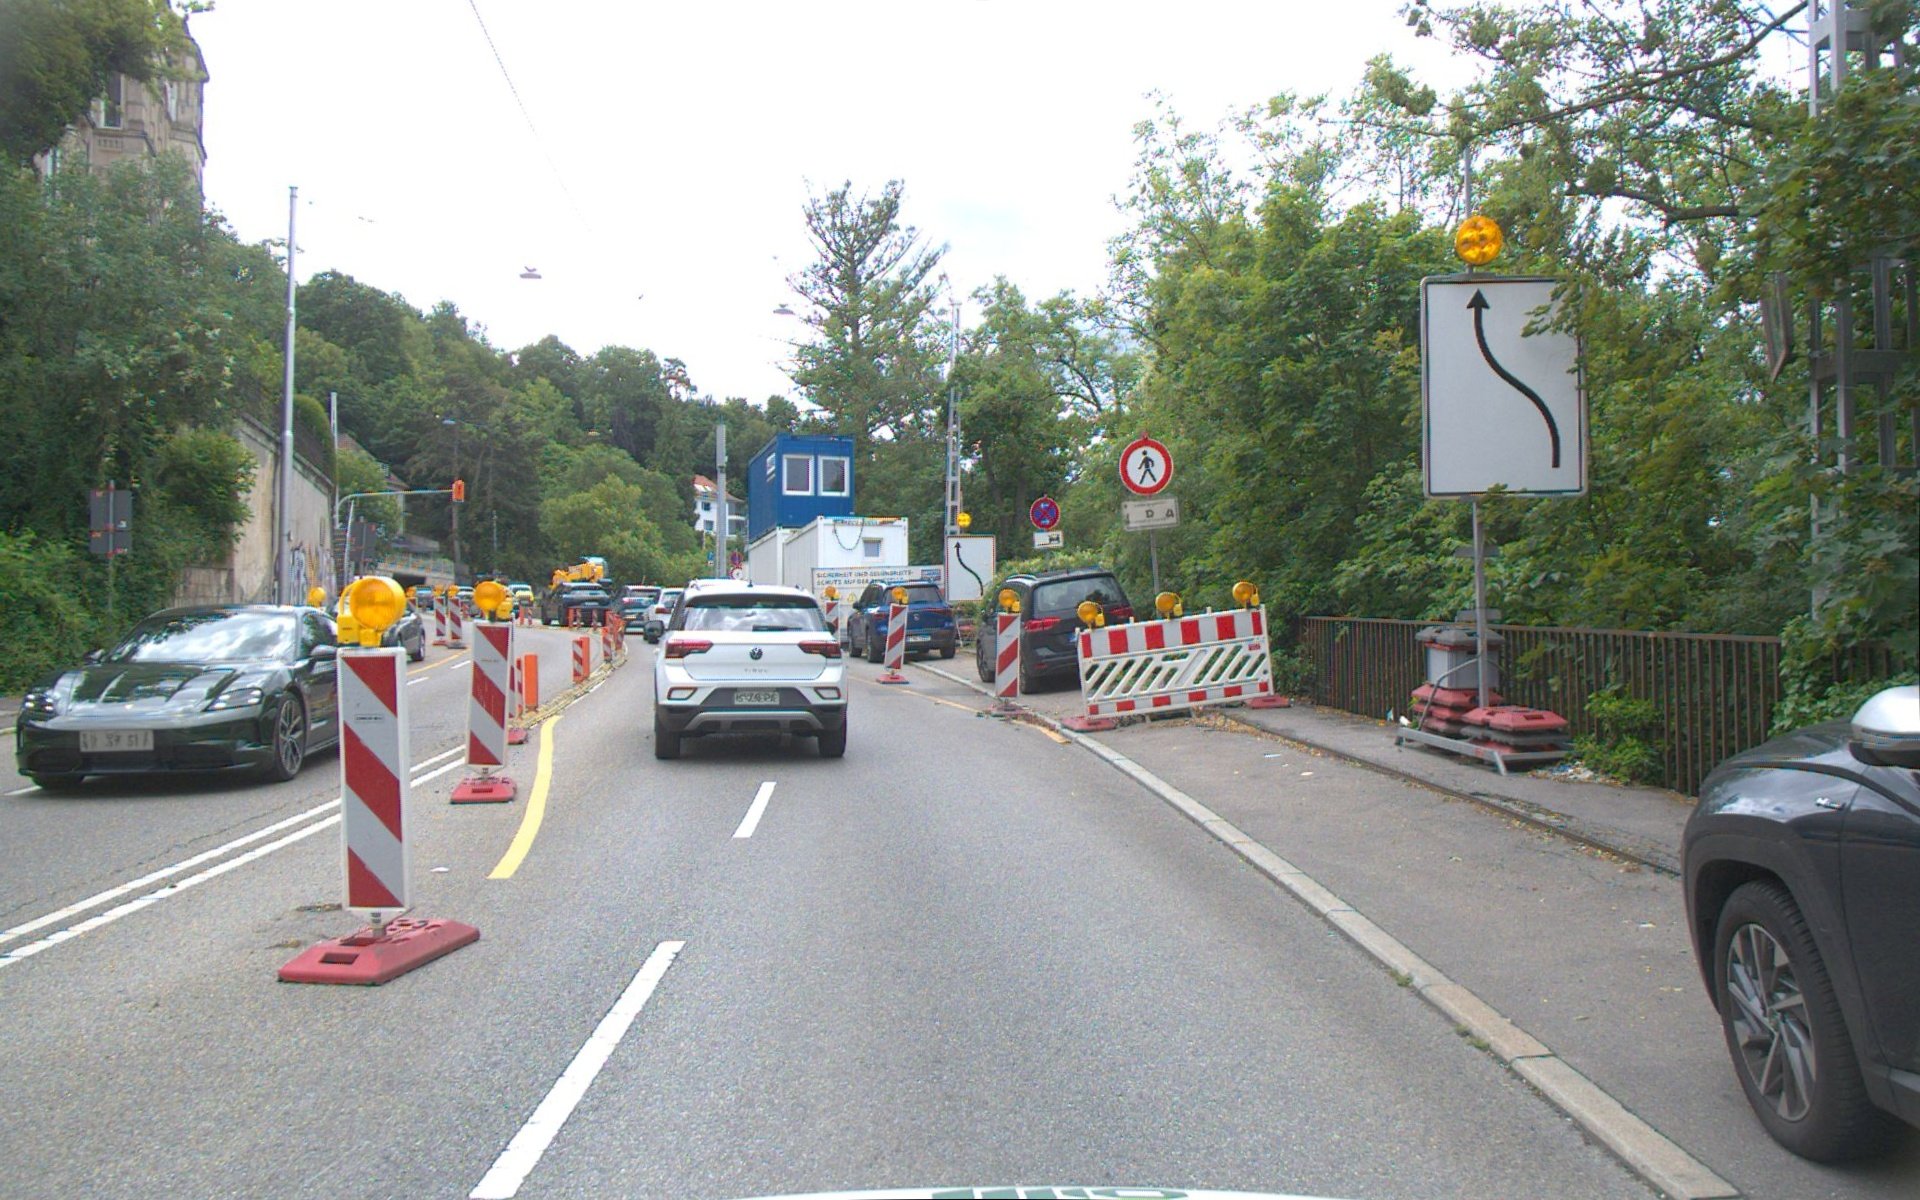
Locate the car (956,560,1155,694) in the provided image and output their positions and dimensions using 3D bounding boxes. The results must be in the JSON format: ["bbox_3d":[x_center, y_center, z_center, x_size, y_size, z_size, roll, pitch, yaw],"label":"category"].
[{"bbox_3d":[1.331,0.365,25.201,1.829,1.703,4.634,-5,1,-11],"label":"car"}]

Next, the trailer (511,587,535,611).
[{"bbox_3d":[-28.045,-0.079,106.196,1.268,1.501,3.615,2,0,-18],"label":"trailer"}]

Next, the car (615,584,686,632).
[{"bbox_3d":[-10.220,0.247,54.410,1.767,1.537,3.979,0,0,-18],"label":"car"}]

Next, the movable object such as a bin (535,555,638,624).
[{"bbox_3d":[-18.127,-0.515,79.876,2.780,3.124,7.749,2,0,-28],"label":"movable object such as a bin"}]

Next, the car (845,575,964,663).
[{"bbox_3d":[-1.261,0.366,35.566,1.807,1.671,4.490,-3,1,-11],"label":"car"}]

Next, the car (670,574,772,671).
[{"bbox_3d":[-4.518,0.384,30.999,1.777,1.692,3.991,0,0,-10],"label":"car"}]

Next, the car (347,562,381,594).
[{"bbox_3d":[-42.035,-1.557,116.617,2.038,2.225,4.929,-1,1,-22],"label":"car"}]

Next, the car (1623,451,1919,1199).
[{"bbox_3d":[2.938,0.454,2.834,1.816,1.702,4.279,-6,0,1],"label":"car"}]

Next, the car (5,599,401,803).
[{"bbox_3d":[-6.333,0.740,14.438,1.786,1.415,4.432,-2,0,-6],"label":"car"}]

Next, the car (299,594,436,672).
[{"bbox_3d":[-11.798,0.609,33.206,1.766,1.397,4.379,-2,1,-9],"label":"car"}]

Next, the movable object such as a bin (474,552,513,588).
[{"bbox_3d":[-36.565,-2.322,129.757,2.170,2.709,4.936,2,0,-7],"label":"movable object such as a bin"}]

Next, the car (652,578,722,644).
[{"bbox_3d":[-7.349,0.279,44.546,1.777,1.692,3.991,0,0,-10],"label":"car"}]

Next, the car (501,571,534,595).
[{"bbox_3d":[-30.472,-1.149,113.814,1.768,1.537,3.975,1,0,-21],"label":"car"}]

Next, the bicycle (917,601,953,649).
[{"bbox_3d":[-0.628,0.606,40.633,0.490,1.127,1.794,-2,1,-12],"label":"bicycle"}]

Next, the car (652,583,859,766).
[{"bbox_3d":[-2.116,0.627,16.246,1.777,1.558,3.990,0,0,-11],"label":"car"}]

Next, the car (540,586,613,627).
[{"bbox_3d":[-14.982,0.223,64.434,1.775,1.537,3.961,0,0,-29],"label":"car"}]

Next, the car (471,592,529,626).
[{"bbox_3d":[-21.743,0.395,78.078,1.775,1.537,3.961,0,0,-29],"label":"car"}]

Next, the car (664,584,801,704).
[{"bbox_3d":[-3.254,0.566,23.615,1.776,1.558,3.992,0,0,-8],"label":"car"}]

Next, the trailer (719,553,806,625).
[{"bbox_3d":[-7.530,-0.416,62.509,2.076,2.594,5.087,-1,1,-21],"label":"trailer"}]
